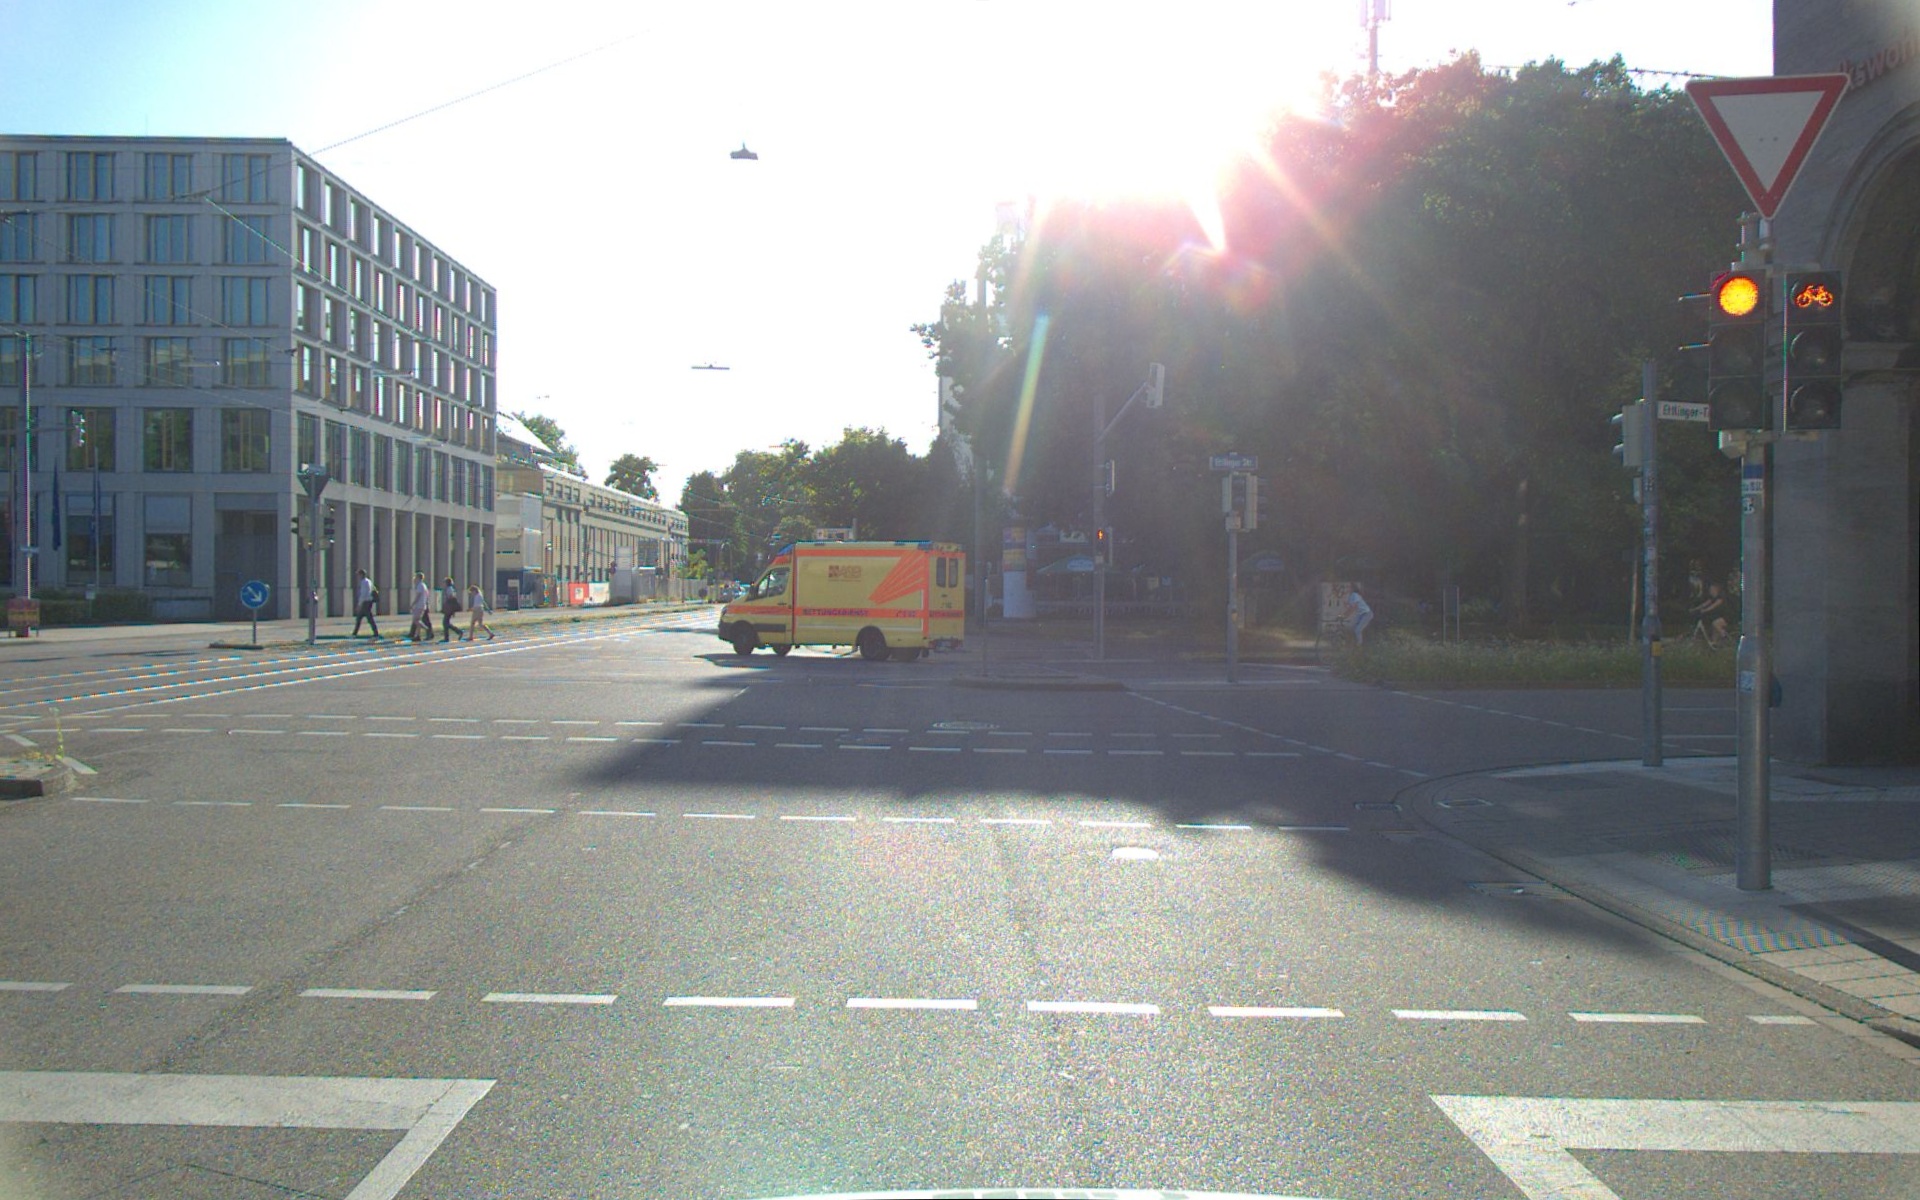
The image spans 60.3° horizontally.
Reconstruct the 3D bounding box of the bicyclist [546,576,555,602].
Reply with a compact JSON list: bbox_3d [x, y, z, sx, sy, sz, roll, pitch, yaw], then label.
[{"bbox_3d":[-32.124,-0.839,129.673,0.559,2.059,0.761,0,0,-2],"label":"bicyclist"}]

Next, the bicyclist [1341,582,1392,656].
[{"bbox_3d":[8.855,0.413,36.047,0.955,1.587,0.574,0,0,-2],"label":"bicyclist"}]

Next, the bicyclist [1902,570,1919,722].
[{"bbox_3d":[10.918,0.504,17.817,1.100,1.622,0.767,0,2,6],"label":"bicyclist"}]

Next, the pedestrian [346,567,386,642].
[{"bbox_3d":[-15.565,0.126,43.368,0.785,1.951,0.637,0,0,4],"label":"pedestrian"}]

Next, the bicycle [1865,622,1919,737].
[{"bbox_3d":[10.905,0.853,17.840,1.833,1.178,0.767,0,2,6],"label":"bicycle"}]

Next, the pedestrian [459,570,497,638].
[{"bbox_3d":[-13.100,0.115,44.946,0.851,1.835,0.532,0,0,4],"label":"pedestrian"}]

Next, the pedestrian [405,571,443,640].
[{"bbox_3d":[-14.350,0.153,44.297,0.723,1.835,0.716,0,0,4],"label":"pedestrian"}]

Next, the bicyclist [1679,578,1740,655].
[{"bbox_3d":[16.341,0.356,36.071,1.052,1.669,0.597,0,0,3],"label":"bicyclist"}]

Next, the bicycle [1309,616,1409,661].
[{"bbox_3d":[8.690,0.842,36.053,2.023,0.949,0.574,0,0,-2],"label":"bicycle"}]

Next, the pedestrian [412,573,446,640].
[{"bbox_3d":[-14.544,0.183,45.336,0.723,1.835,0.532,0,0,4],"label":"pedestrian"}]

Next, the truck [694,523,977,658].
[{"bbox_3d":[-3.030,-0.233,40.119,6.340,3.068,2.723,0,0,25],"label":"truck"}]

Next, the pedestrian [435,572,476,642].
[{"bbox_3d":[-13.365,0.180,43.843,0.852,1.835,0.664,0,0,4],"label":"pedestrian"}]

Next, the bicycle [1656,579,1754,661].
[{"bbox_3d":[16.244,0.442,36.078,1.857,1.765,0.597,0,0,3],"label":"bicycle"}]

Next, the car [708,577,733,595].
[{"bbox_3d":[-22.576,-1.287,155.926,1.856,1.635,4.498,0,0,-3],"label":"car"}]

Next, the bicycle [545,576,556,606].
[{"bbox_3d":[-32.129,-0.743,129.683,0.559,2.336,1.422,0,0,-2],"label":"bicycle"}]
